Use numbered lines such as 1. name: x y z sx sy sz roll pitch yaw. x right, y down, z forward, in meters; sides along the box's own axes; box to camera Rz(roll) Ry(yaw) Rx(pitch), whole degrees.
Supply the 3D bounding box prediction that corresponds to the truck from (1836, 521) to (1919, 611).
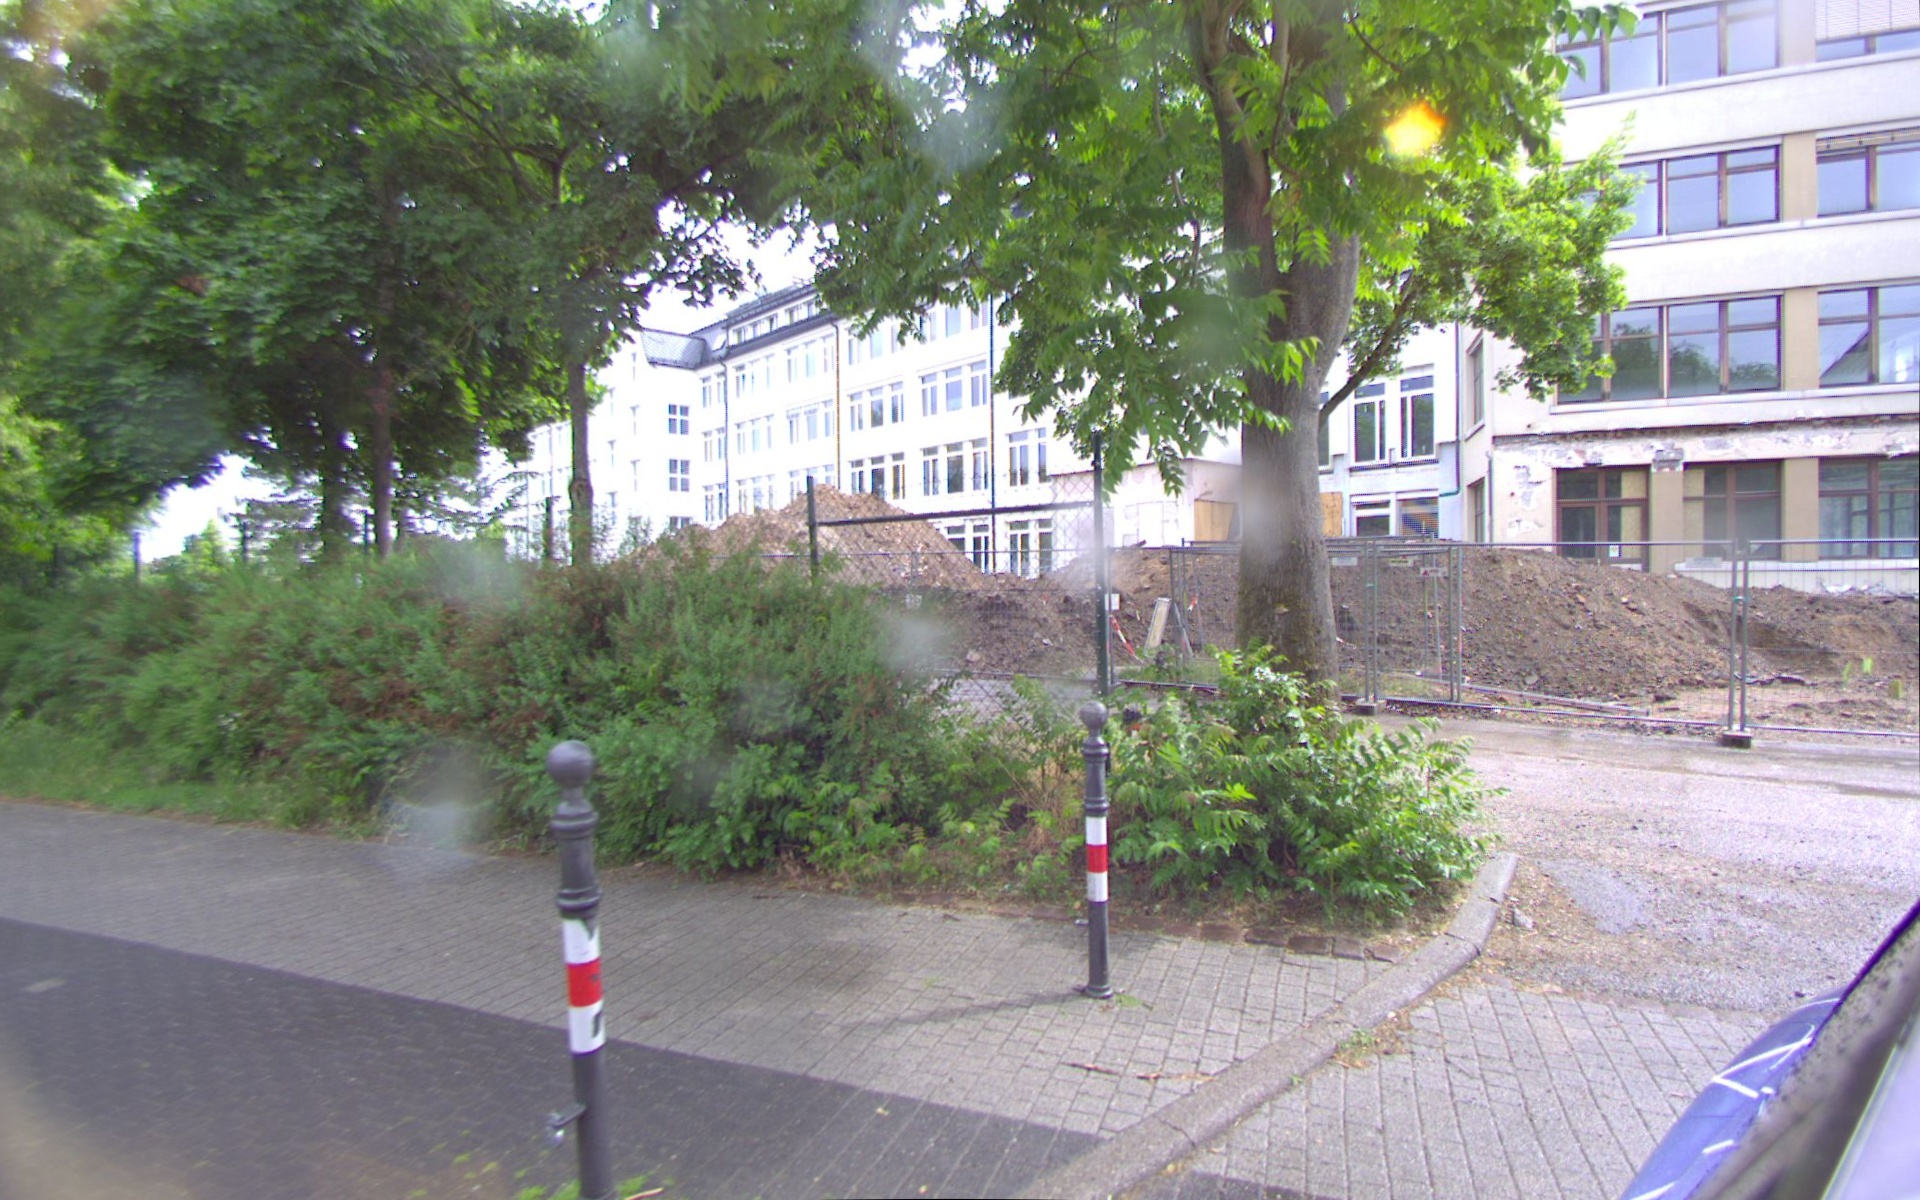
1. truck: 40.360 -1.338 41.576 3.202 3.572 9.844 1 0 20
